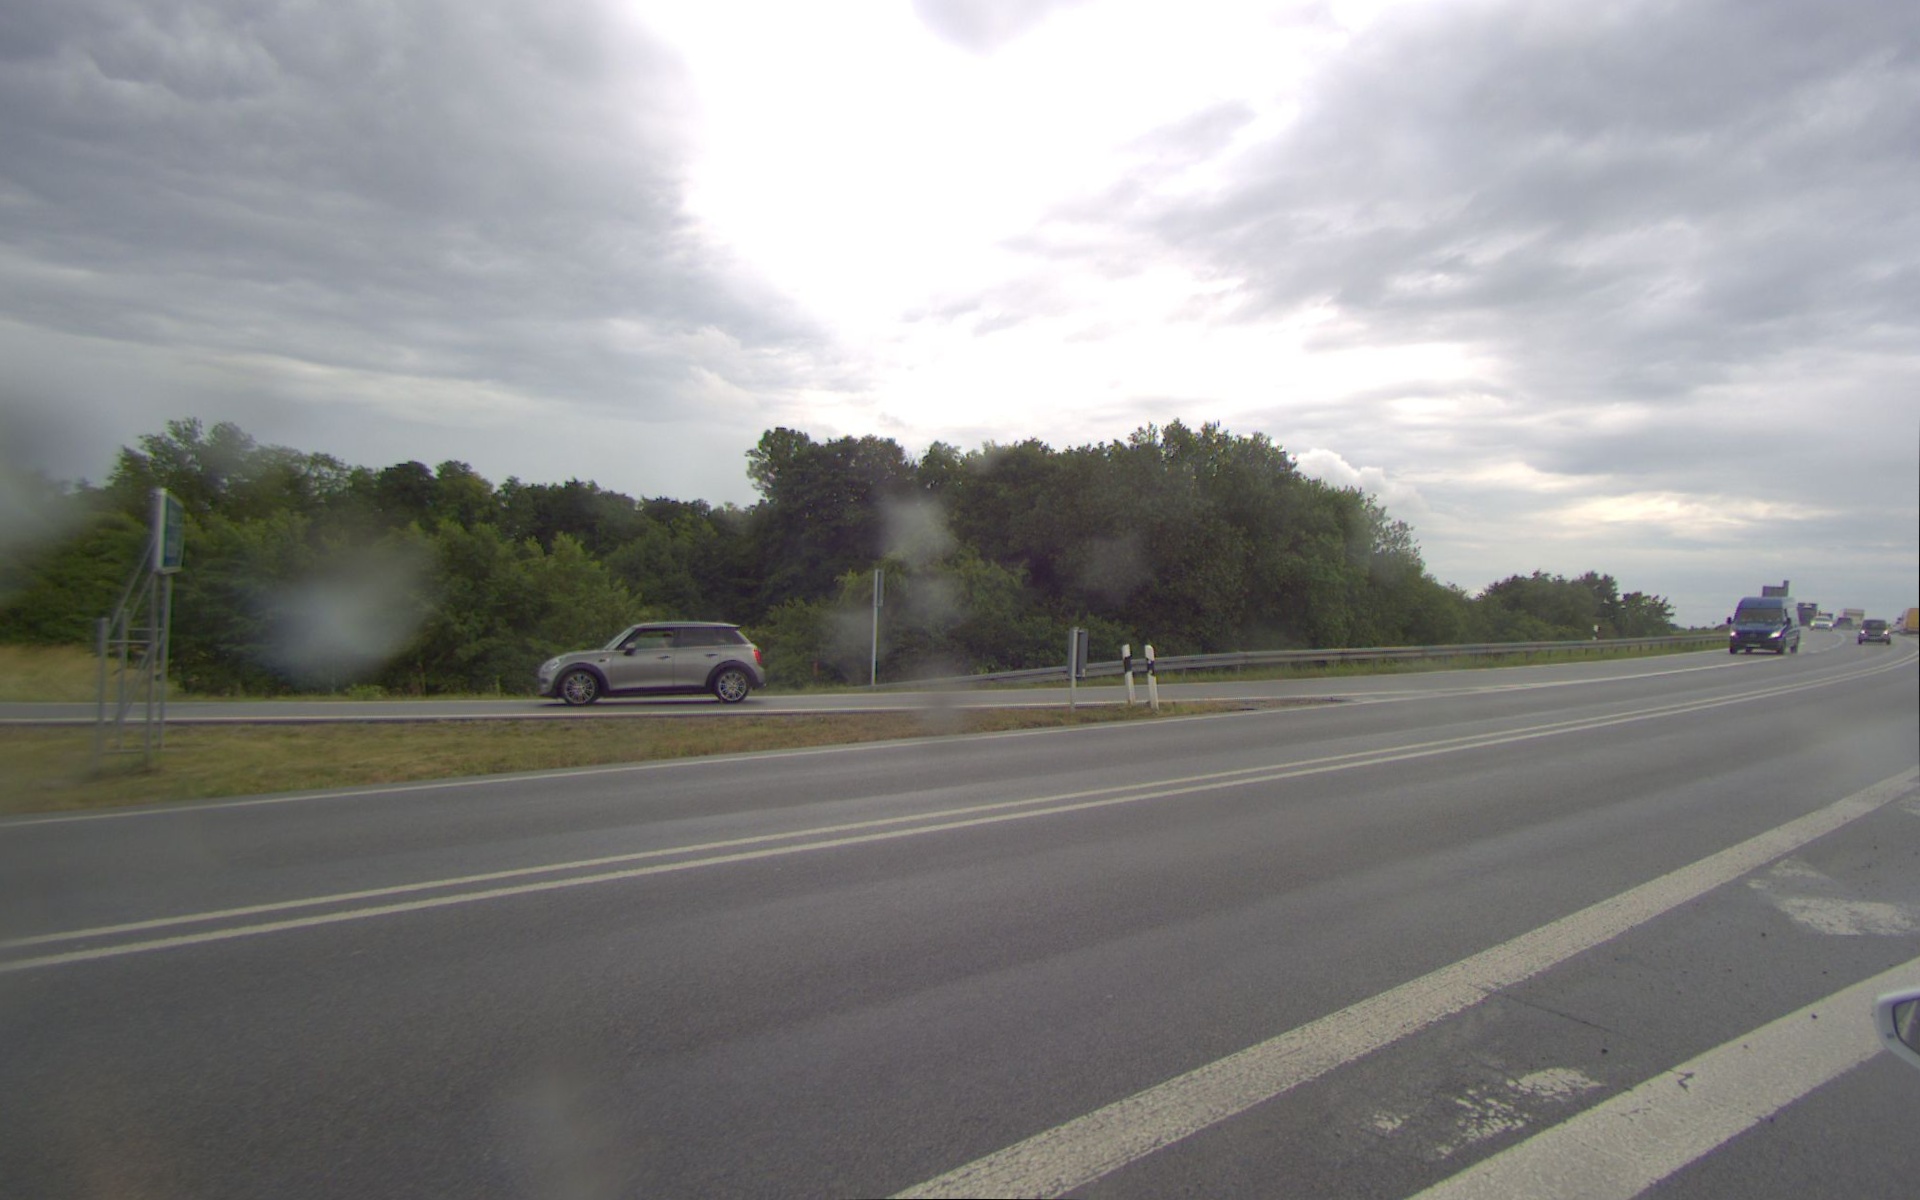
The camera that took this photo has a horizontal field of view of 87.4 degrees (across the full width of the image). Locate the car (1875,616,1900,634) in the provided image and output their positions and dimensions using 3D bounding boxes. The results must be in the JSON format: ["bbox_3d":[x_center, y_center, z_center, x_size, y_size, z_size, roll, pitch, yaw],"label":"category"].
[{"bbox_3d":[96.325,2.575,104.346,1.771,1.710,3.980,1,-3,42],"label":"car"}]

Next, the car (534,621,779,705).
[{"bbox_3d":[-5.378,1.159,18.067,3.985,1.383,1.744,1,-5,-17],"label":"car"}]

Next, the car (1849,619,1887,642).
[{"bbox_3d":[57.647,1.945,63.824,1.724,1.383,4.029,0,-1,42],"label":"car"}]

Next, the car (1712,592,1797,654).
[{"bbox_3d":[37.823,1.041,47.745,6.947,2.737,2.328,1,-1,-45],"label":"car"}]

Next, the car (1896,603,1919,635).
[{"bbox_3d":[85.561,1.711,89.735,2.544,2.762,7.158,2,0,42],"label":"car"}]

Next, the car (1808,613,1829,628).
[{"bbox_3d":[90.130,2.171,105.446,1.634,1.466,3.369,3,1,41],"label":"car"}]
